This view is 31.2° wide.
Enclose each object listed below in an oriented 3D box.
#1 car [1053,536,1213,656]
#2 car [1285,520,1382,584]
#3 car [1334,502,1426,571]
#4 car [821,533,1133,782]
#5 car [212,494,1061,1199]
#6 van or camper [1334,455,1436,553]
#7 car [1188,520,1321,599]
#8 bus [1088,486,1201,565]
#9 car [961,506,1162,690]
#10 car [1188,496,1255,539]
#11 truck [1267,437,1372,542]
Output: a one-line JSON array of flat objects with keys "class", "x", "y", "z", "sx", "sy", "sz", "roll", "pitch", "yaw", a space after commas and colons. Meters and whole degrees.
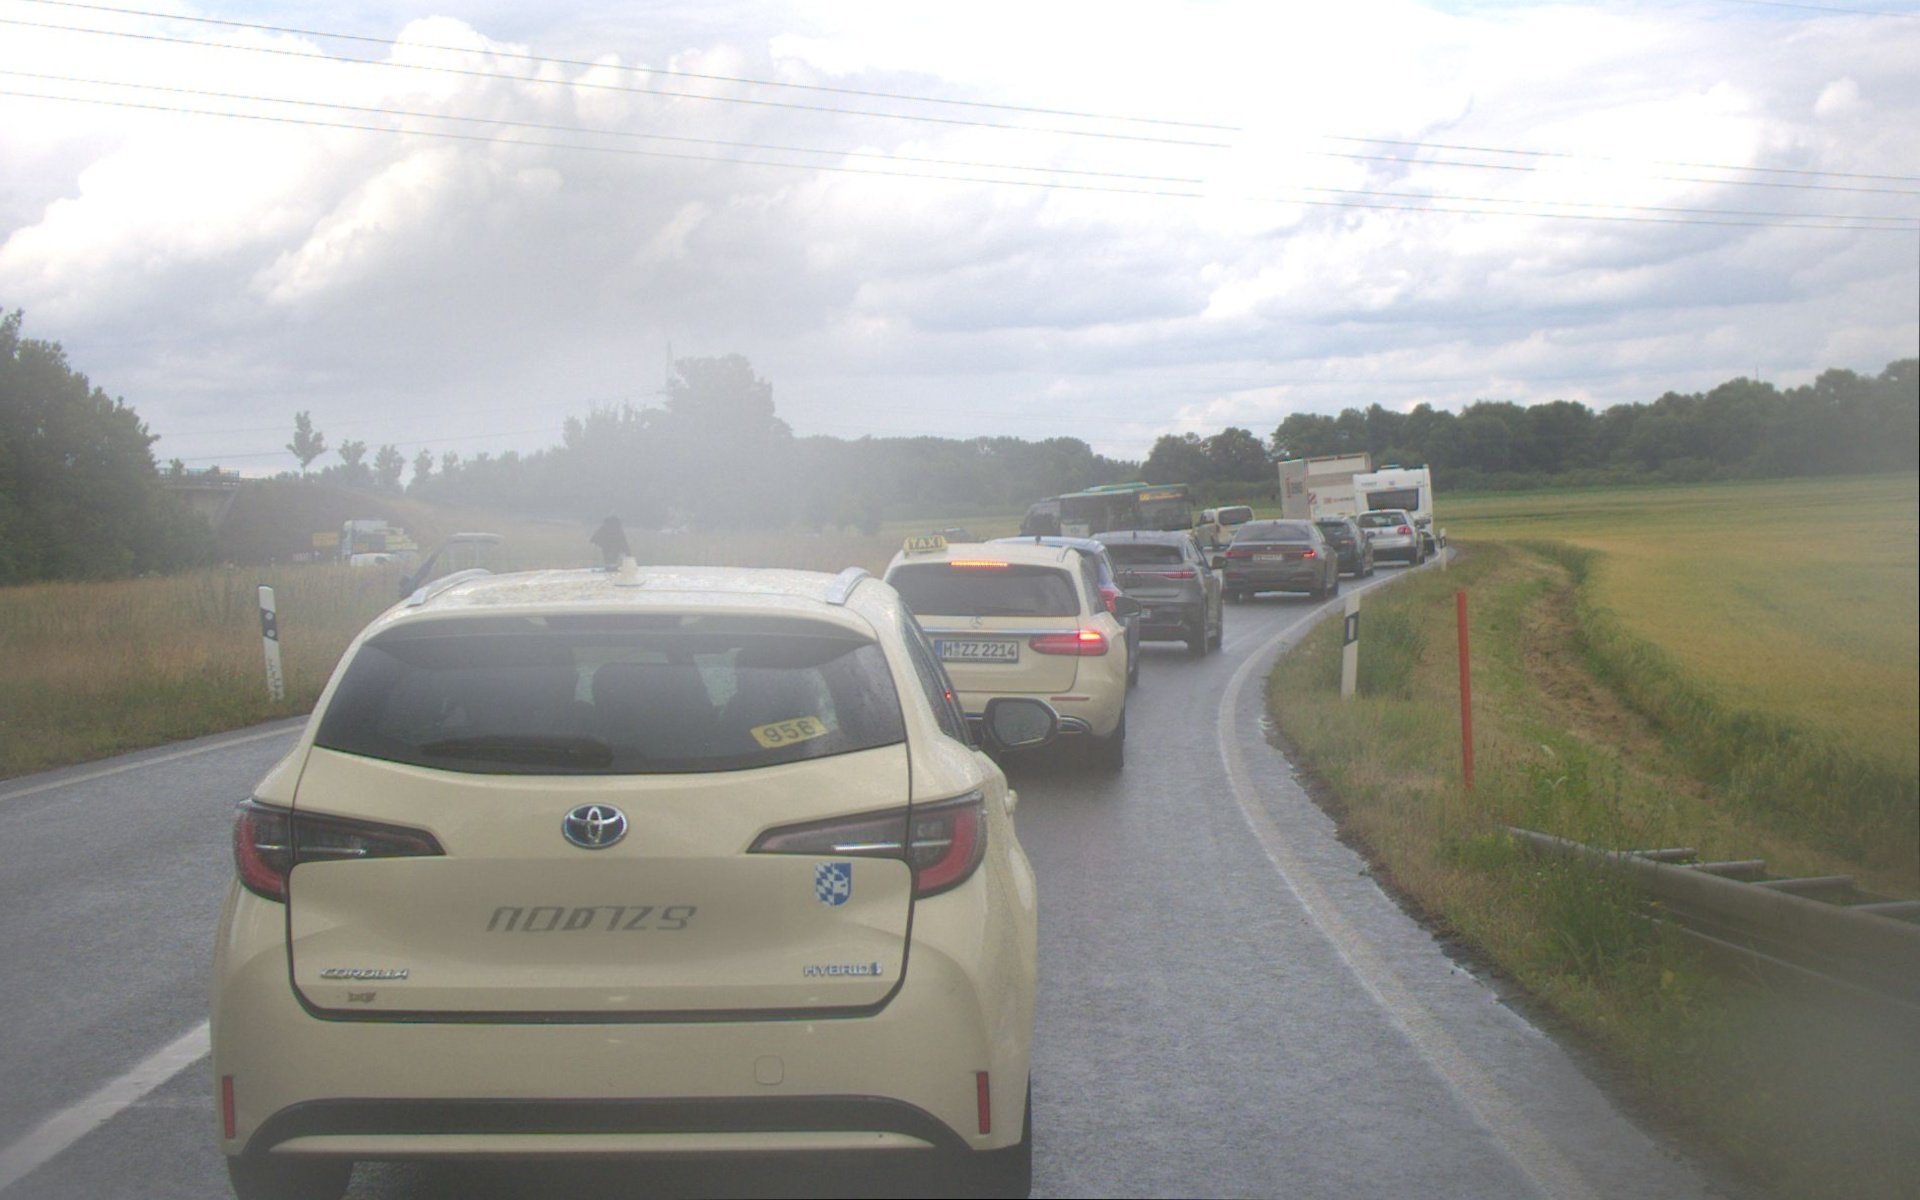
[{"class": "car", "x": 2.171, "y": -0.059, "z": 42.348, "sx": 1.613, "sy": 1.408, "sz": 3.737, "roll": 0, "pitch": 0, "yaw": 8}, {"class": "car", "x": 8.561, "y": -1.081, "z": 78.587, "sx": 1.826, "sy": 1.408, "sz": 3.736, "roll": 1, "pitch": 0, "yaw": 12}, {"class": "car", "x": 10.916, "y": -1.629, "z": 89.266, "sx": 1.961, "sy": 1.723, "sz": 3.736, "roll": 1, "pitch": 0, "yaw": 13}, {"class": "car", "x": 0.214, "y": 0.307, "z": 23.412, "sx": 1.841, "sy": 1.487, "sz": 4.608, "roll": 0, "pitch": 1, "yaw": 4}, {"class": "car", "x": -0.712, "y": 0.572, "z": 8.465, "sx": 1.612, "sy": 1.557, "sz": 3.739, "roll": 0, "pitch": 0, "yaw": -3}, {"class": "van or camper", "x": 12.874, "y": -2.905, "z": 104.582, "sx": 2.537, "sy": 2.886, "sz": 6.743, "roll": 0, "pitch": 1, "yaw": 2}, {"class": "car", "x": 5.512, "y": -0.734, "z": 63.916, "sx": 1.961, "sy": 1.408, "sz": 4.390, "roll": 1, "pitch": 0, "yaw": 11}, {"class": "bus", "x": 7.957, "y": -3.280, "z": 150.187, "sx": 2.757, "sy": 3.286, "sz": 12.506, "roll": 0, "pitch": 1, "yaw": -7}, {"class": "car", "x": 1.020, "y": -0.030, "z": 32.882, "sx": 1.613, "sy": 1.653, "sz": 3.737, "roll": 0, "pitch": 0, "yaw": 6}, {"class": "car", "x": 11.476, "y": -3.617, "z": 151.100, "sx": 1.882, "sy": 1.767, "sz": 4.161, "roll": 0, "pitch": 0, "yaw": -12}, {"class": "truck", "x": 13.771, "y": -4.192, "z": 132.154, "sx": 3.126, "sy": 3.839, "sz": 7.387, "roll": 0, "pitch": 0, "yaw": -1}]
